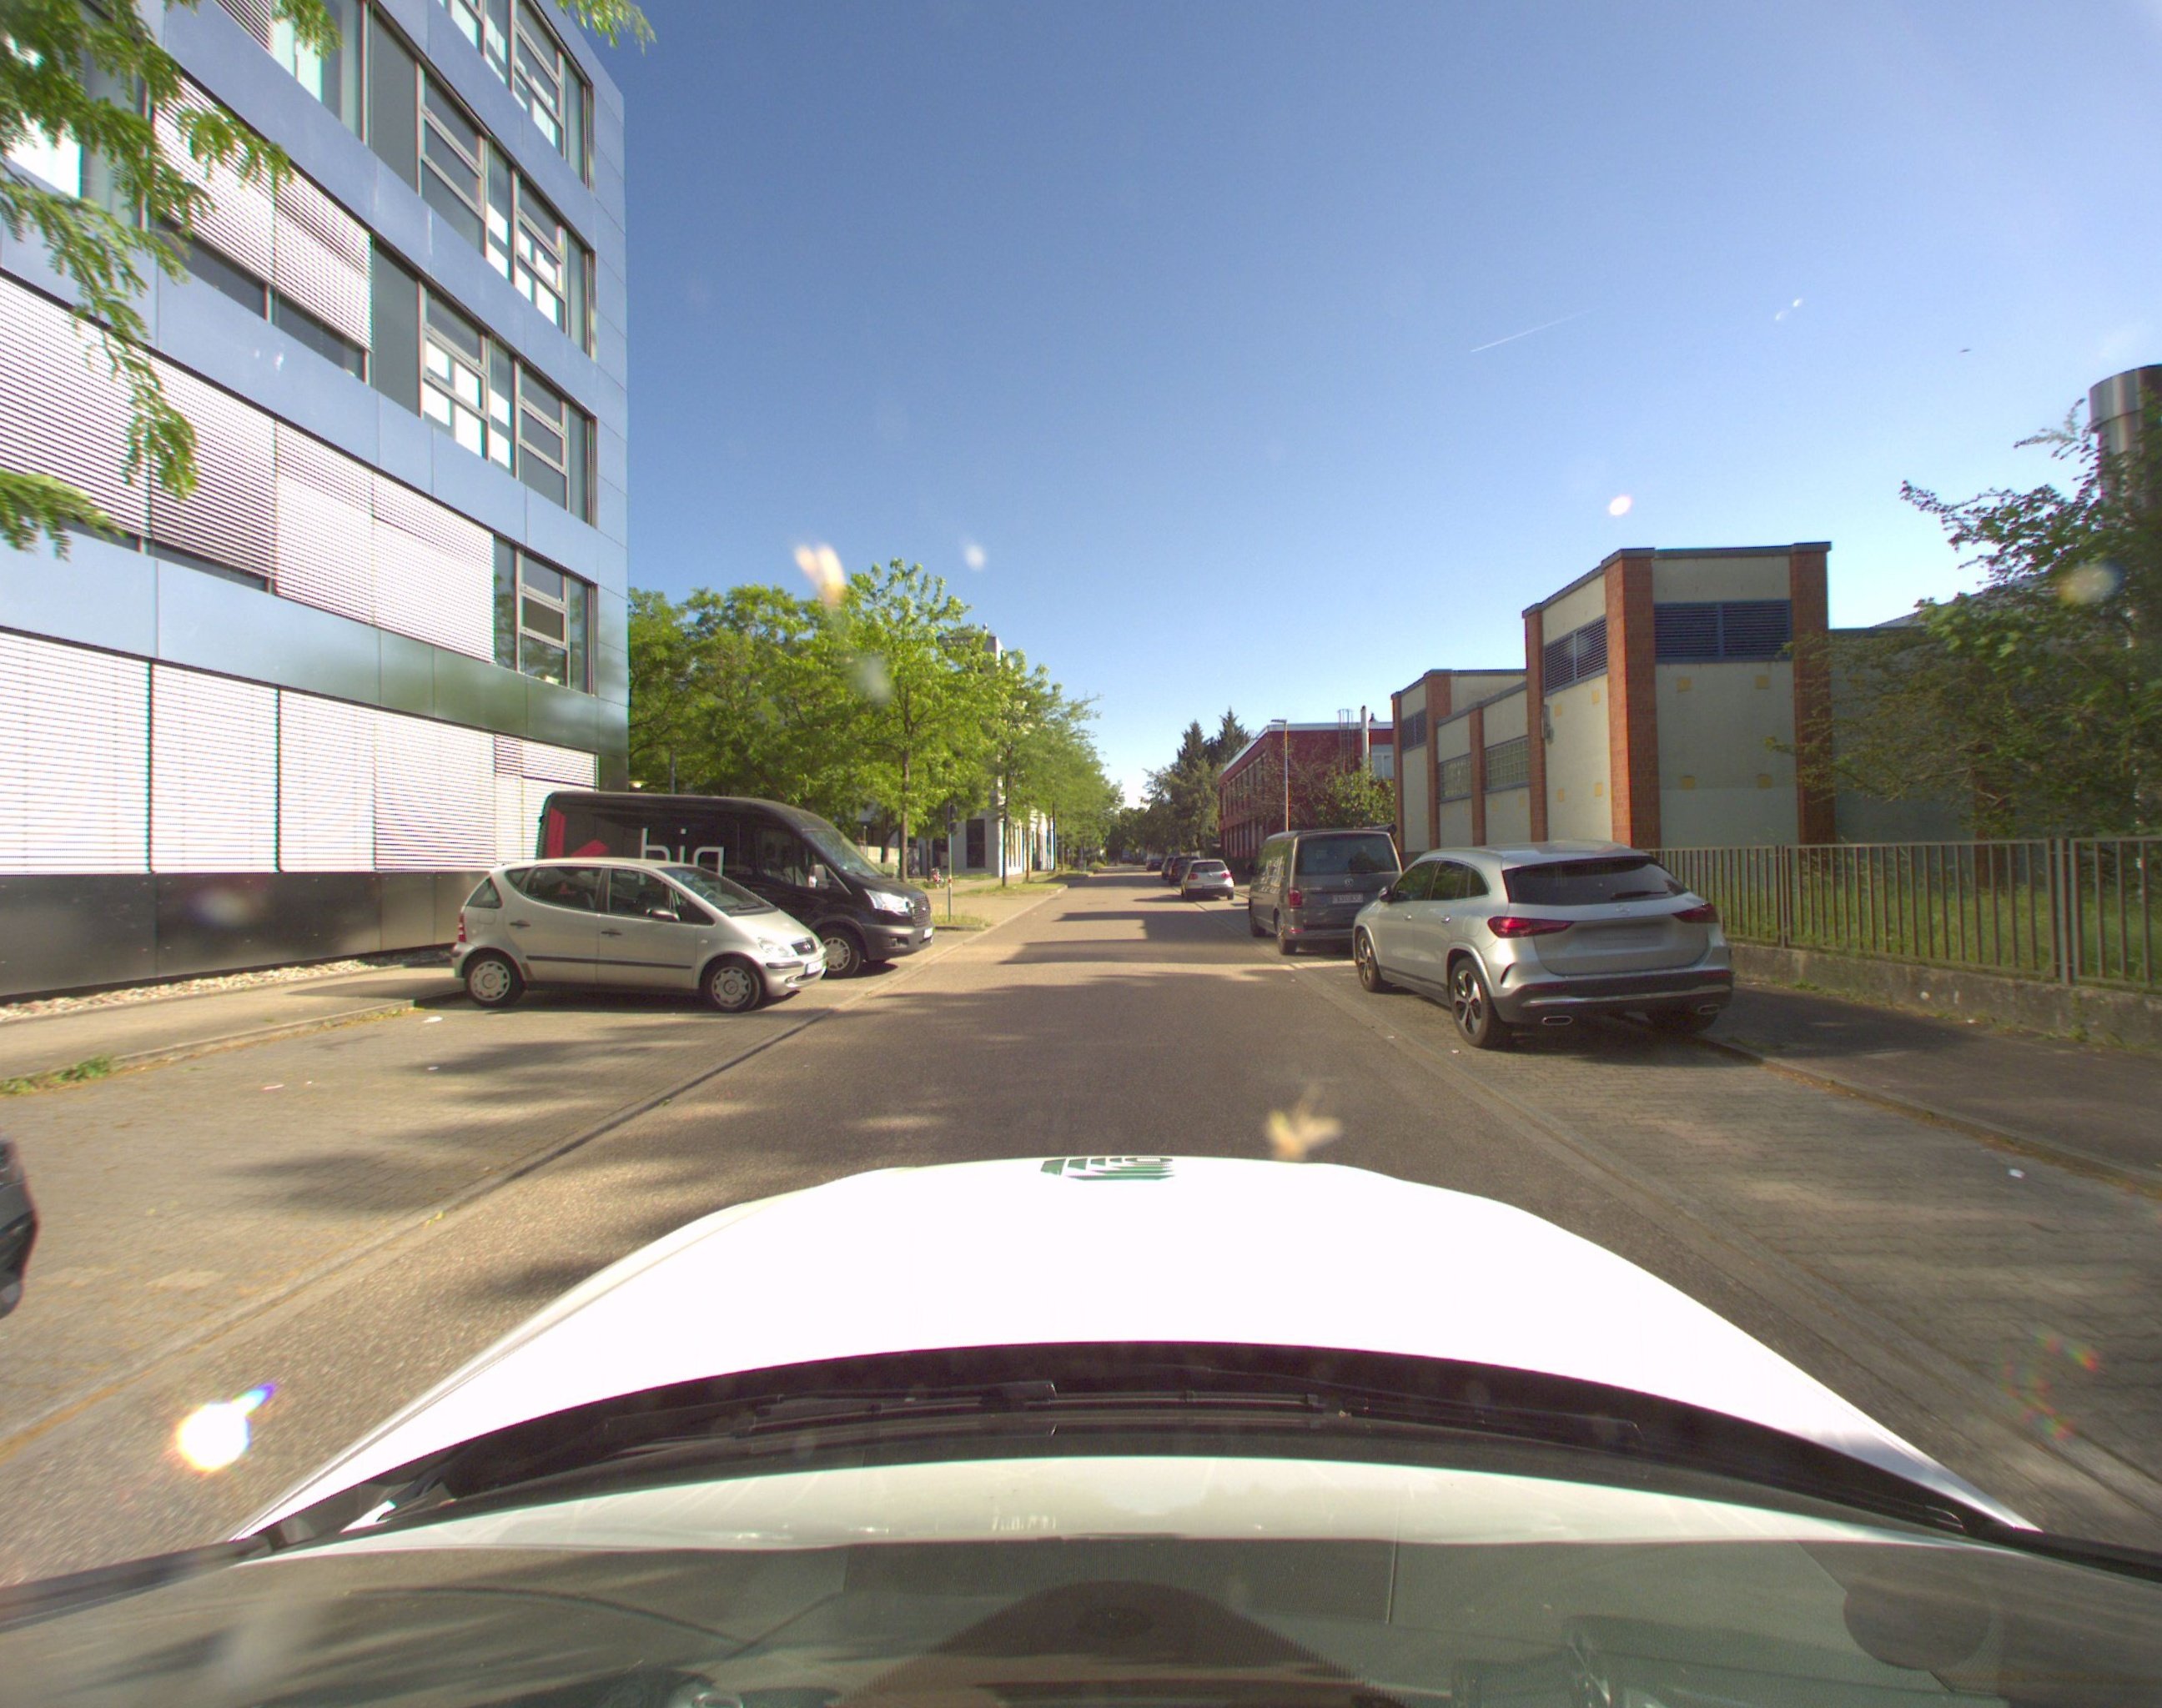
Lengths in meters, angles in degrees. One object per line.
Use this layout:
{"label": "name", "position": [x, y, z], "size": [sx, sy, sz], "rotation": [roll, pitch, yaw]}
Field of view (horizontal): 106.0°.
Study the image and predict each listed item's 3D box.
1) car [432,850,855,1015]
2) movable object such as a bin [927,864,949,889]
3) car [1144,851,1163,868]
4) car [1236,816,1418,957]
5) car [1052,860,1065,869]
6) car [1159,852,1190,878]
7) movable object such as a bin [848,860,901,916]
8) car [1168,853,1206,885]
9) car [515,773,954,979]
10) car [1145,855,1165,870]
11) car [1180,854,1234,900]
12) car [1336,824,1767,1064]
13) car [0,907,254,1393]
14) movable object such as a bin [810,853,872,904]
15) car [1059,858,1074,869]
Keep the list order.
{"label": "car", "position": [-4.826, 0.827, 9.440], "size": [3.817, 1.645, 1.892], "rotation": [1, -1, 1]}
{"label": "movable object such as a bin", "position": [-7.160, 1.115, 40.906], "size": [0.660, 1.181, 1.937], "rotation": [-1, 0, 3]}
{"label": "car", "position": [8.431, 0.610, 94.586], "size": [1.985, 1.834, 4.004], "rotation": [-4, 0, 4]}
{"label": "car", "position": [4.095, 0.523, 14.468], "size": [1.935, 2.022, 4.828], "rotation": [-2, -1, 3]}
{"label": "car", "position": [-3.555, 1.647, 131.373], "size": [1.899, 1.342, 3.793], "rotation": [-1, 0, 0]}
{"label": "car", "position": [6.379, 0.725, 55.995], "size": [1.847, 1.648, 4.004], "rotation": [-2, 0, 4]}
{"label": "movable object such as a bin", "position": [-5.420, 0.865, 21.405], "size": [1.295, 1.414, 1.221], "rotation": [-1, -1, -15]}
{"label": "car", "position": [5.811, 0.800, 44.896], "size": [1.830, 1.634, 4.206], "rotation": [-1, 0, 4]}
{"label": "car", "position": [-4.842, 0.295, 12.052], "size": [5.433, 2.623, 2.233], "rotation": [1, -1, 2]}
{"label": "car", "position": [8.046, 0.912, 88.851], "size": [1.985, 1.442, 4.004], "rotation": [-4, 0, 4]}
{"label": "car", "position": [4.631, 0.812, 30.431], "size": [1.652, 1.561, 3.939], "rotation": [-1, 0, 4]}
{"label": "car", "position": [4.006, 0.676, 7.936], "size": [1.818, 1.629, 4.296], "rotation": [-3, -1, 3]}
{"label": "car", "position": [-5.393, 0.829, 2.144], "size": [4.516, 1.350, 1.893], "rotation": [1, -1, 2]}
{"label": "movable object such as a bin", "position": [-8.087, 0.825, 27.491], "size": [1.406, 1.597, 1.525], "rotation": [3, -3, 6]}
{"label": "car", "position": [-2.125, 1.404, 120.483], "size": [1.987, 1.458, 3.793], "rotation": [-1, -1, 0]}
